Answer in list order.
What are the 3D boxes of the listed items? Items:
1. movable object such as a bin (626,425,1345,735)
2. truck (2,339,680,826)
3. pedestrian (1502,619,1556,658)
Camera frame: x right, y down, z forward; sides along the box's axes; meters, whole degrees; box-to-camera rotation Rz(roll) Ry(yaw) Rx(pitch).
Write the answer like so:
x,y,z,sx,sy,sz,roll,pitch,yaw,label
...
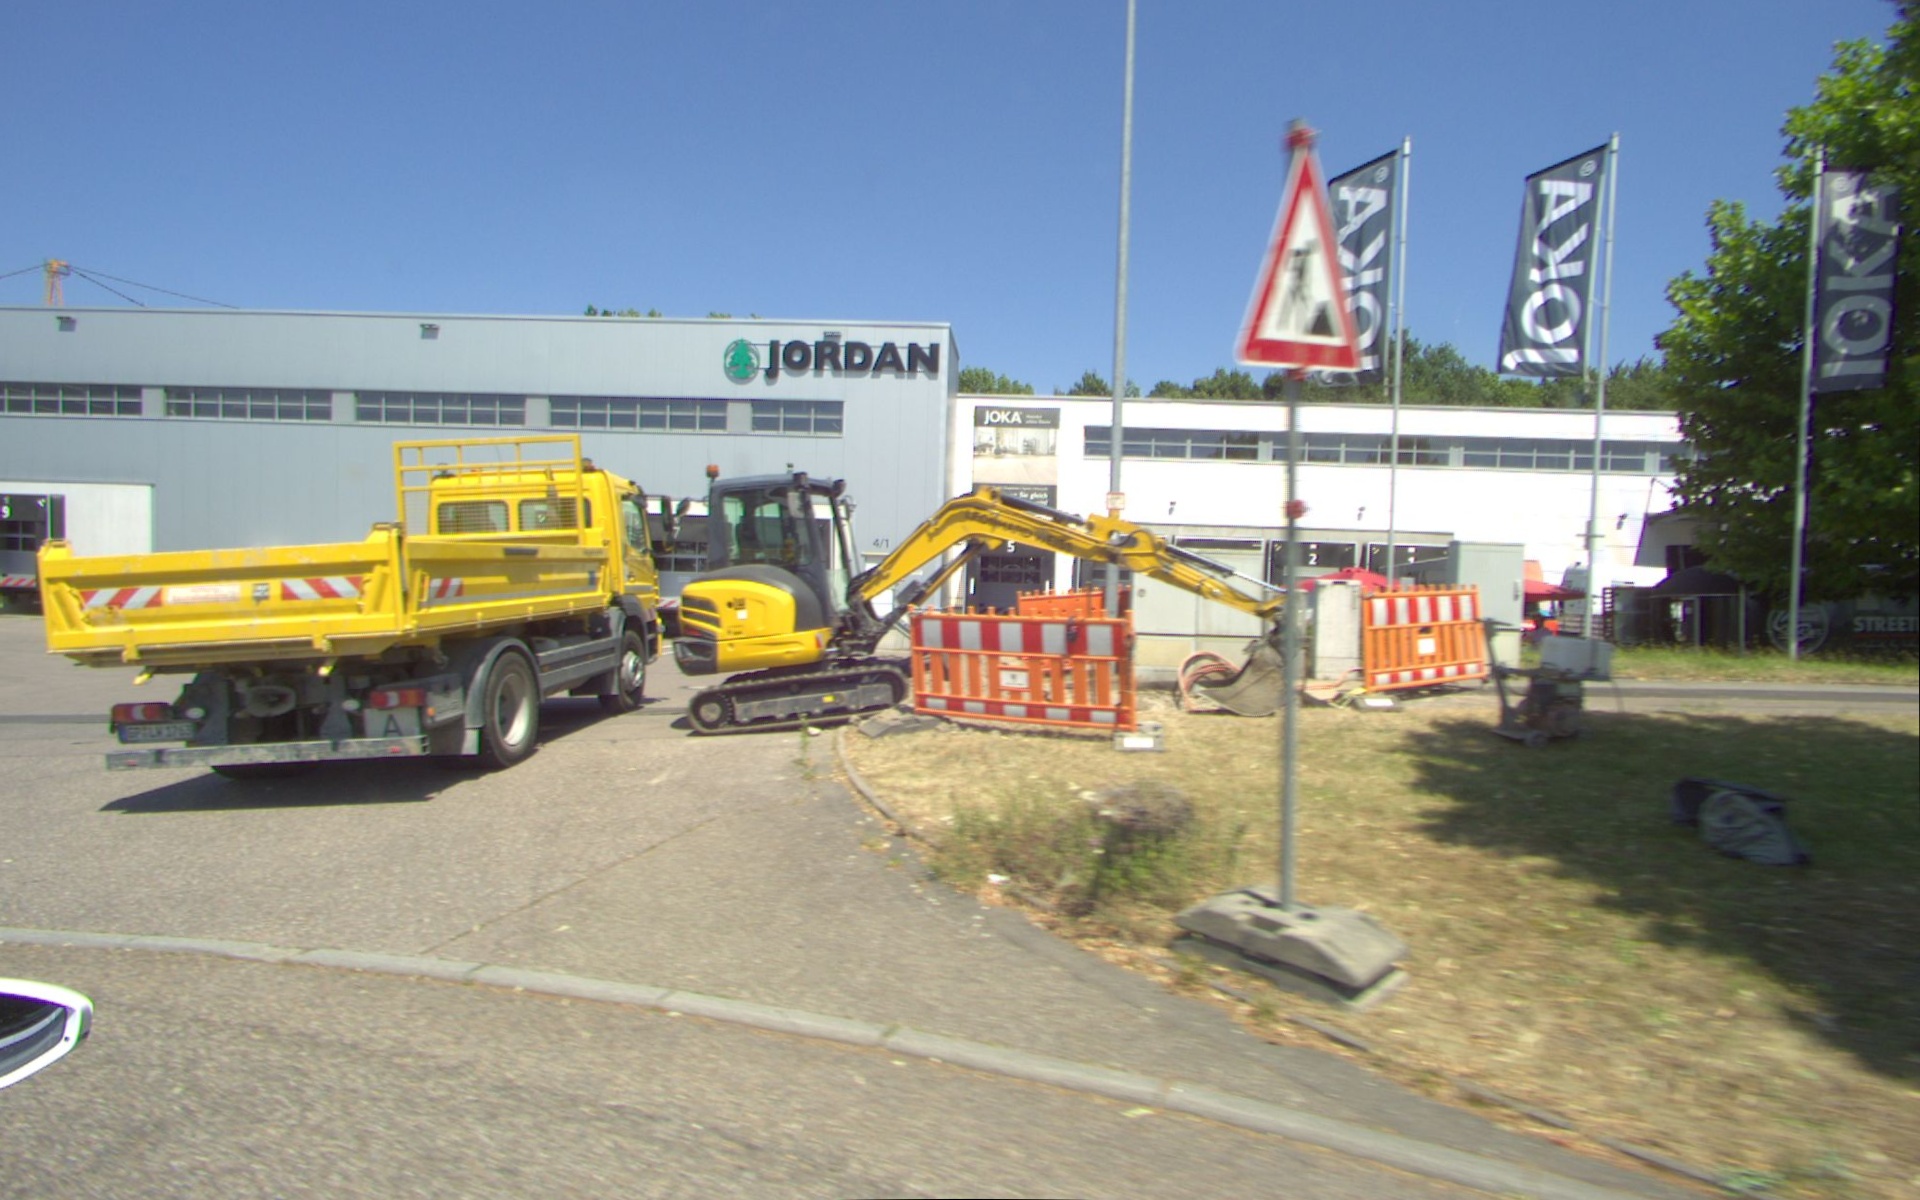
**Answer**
x,y,z,sx,sy,sz,roll,pitch,yaw,label
0.206,-0.136,9.938,6.451,2.615,1.999,0,0,9,movable object such as a bin
-4.953,-0.242,9.825,2.545,3.180,6.418,-1,3,0,truck
10.939,0.729,19.267,0.853,0.704,0.406,1,1,27,pedestrian
